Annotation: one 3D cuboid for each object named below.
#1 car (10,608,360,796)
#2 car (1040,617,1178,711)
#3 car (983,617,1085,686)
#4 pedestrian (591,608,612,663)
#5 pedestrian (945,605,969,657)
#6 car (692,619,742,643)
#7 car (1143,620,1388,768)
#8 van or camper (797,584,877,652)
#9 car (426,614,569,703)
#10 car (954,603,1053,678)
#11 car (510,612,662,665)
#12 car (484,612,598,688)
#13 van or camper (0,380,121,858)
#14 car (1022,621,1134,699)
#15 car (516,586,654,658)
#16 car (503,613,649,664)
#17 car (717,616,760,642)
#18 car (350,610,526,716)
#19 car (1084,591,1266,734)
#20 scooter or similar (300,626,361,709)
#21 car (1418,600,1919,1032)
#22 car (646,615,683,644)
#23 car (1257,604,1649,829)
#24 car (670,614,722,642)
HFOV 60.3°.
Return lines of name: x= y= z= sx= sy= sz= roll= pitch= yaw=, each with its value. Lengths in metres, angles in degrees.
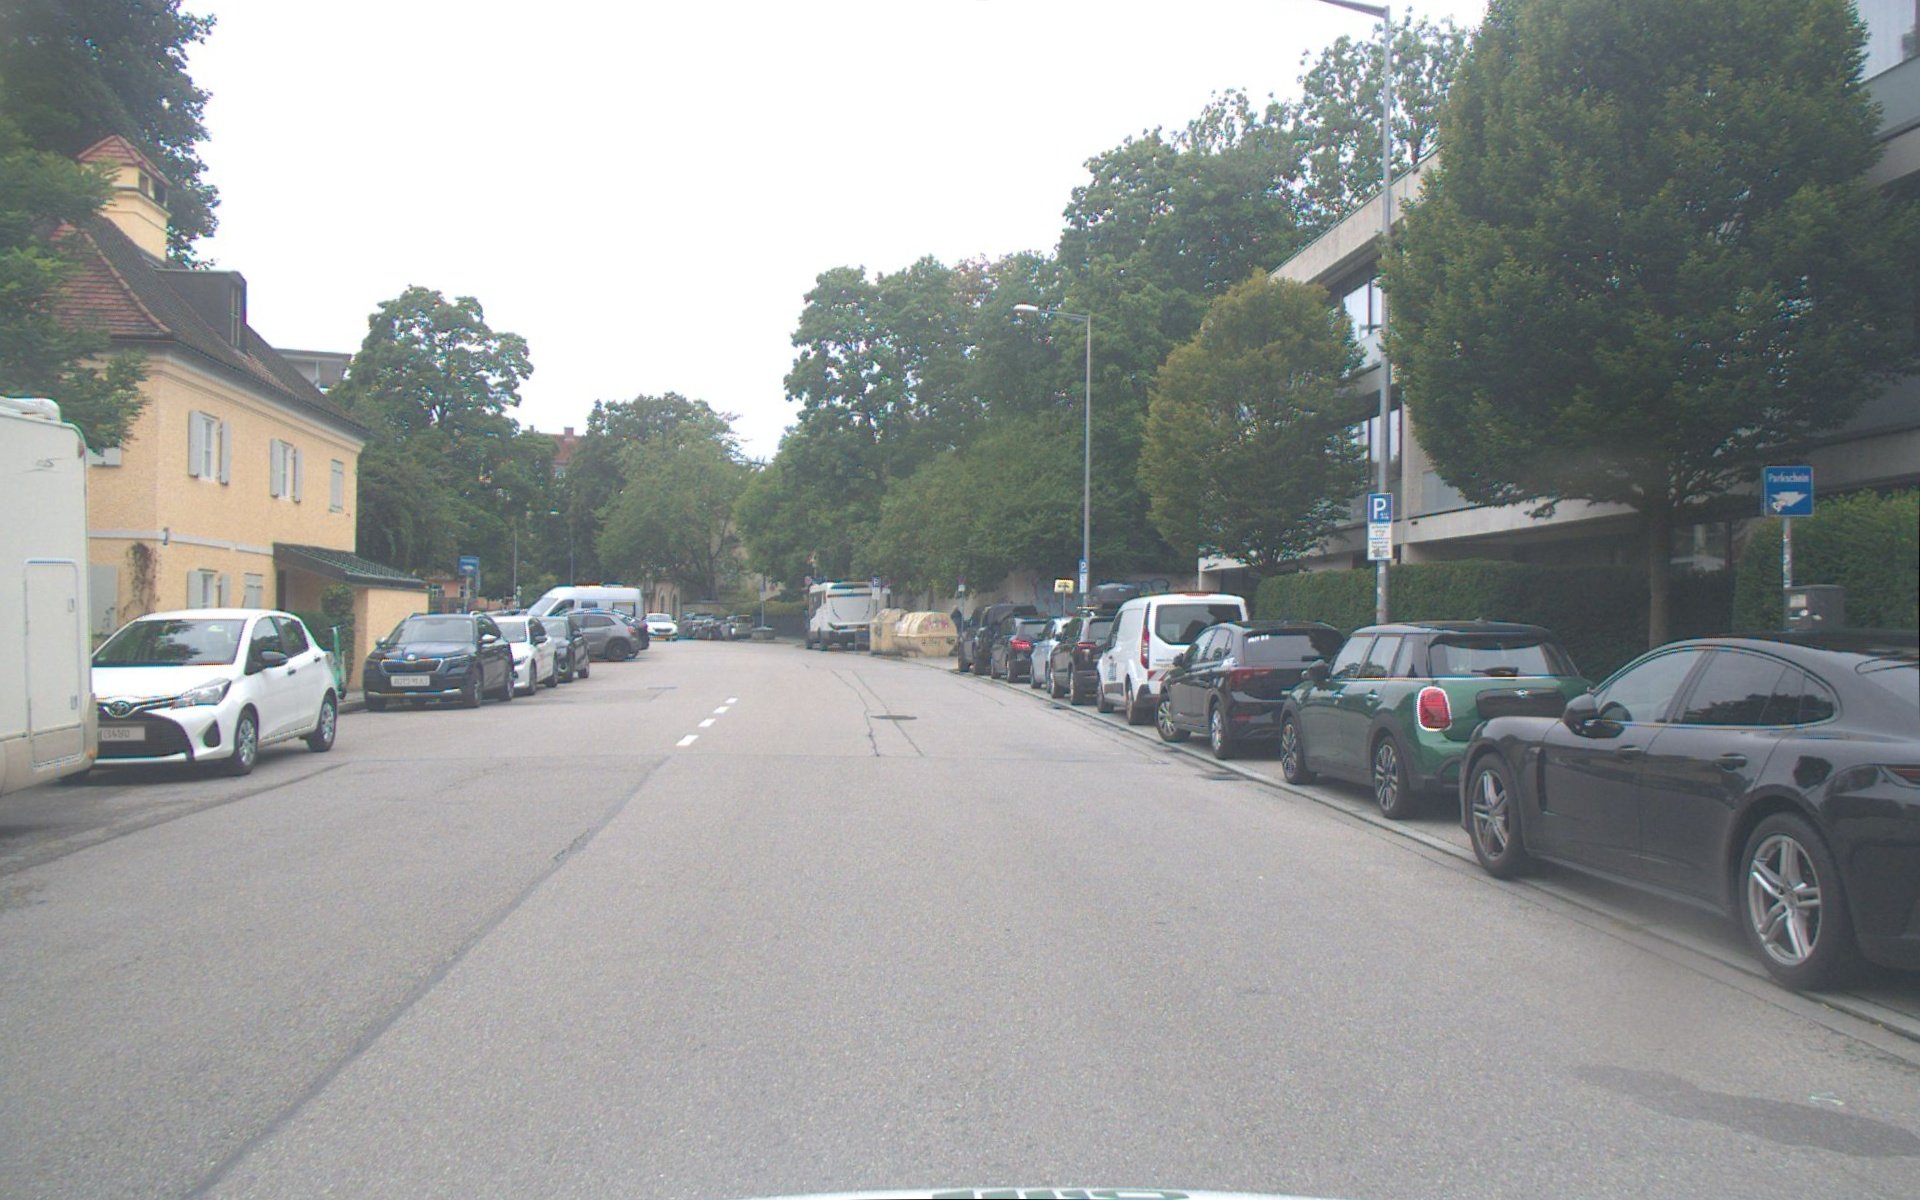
car: x=-7.444 y=0.891 z=16.380 sx=1.744 sy=1.562 sz=4.223 roll=-2 pitch=0 yaw=-5
car: x=2.621 y=1.105 z=30.103 sx=1.714 sy=1.506 sz=4.593 roll=1 pitch=0 yaw=-5
car: x=1.731 y=1.221 z=40.390 sx=1.715 sy=1.566 sz=4.562 roll=1 pitch=-1 yaw=-7
pedestrian: x=-10.997 y=1.079 z=50.717 sx=0.580 sy=1.676 sz=0.712 roll=-1 pitch=0 yaw=-14
pedestrian: x=-0.107 y=1.228 z=65.626 sx=0.782 sy=2.020 sz=0.628 roll=1 pitch=-1 yaw=-16
car: x=-15.465 y=1.959 z=105.084 sx=1.855 sy=1.452 sz=4.183 roll=-1 pitch=0 yaw=-28
car: x=3.379 y=0.992 z=19.108 sx=1.714 sy=1.489 sz=4.238 roll=0 pitch=0 yaw=-5
van or camper: x=-5.759 y=0.831 z=76.418 sx=2.236 sy=2.957 sz=7.243 roll=1 pitch=-1 yaw=-16
car: x=-8.951 y=1.080 z=32.368 sx=1.809 sy=1.562 sz=4.516 roll=-2 pitch=0 yaw=-5
car: x=1.125 y=1.127 z=45.721 sx=1.950 sy=1.904 sz=5.069 roll=1 pitch=-2 yaw=-7
car: x=-12.248 y=1.234 z=54.303 sx=4.482 sy=1.622 sz=1.938 roll=0 pitch=-1 yaw=-39
car: x=-9.355 y=1.073 z=37.265 sx=1.810 sy=1.562 sz=4.555 roll=-2 pitch=0 yaw=-6
van or camper: x=-7.093 y=0.119 z=8.306 sx=2.406 sy=2.992 sz=7.206 roll=-1 pitch=0 yaw=-3
car: x=2.420 y=1.216 z=34.713 sx=1.714 sy=1.506 sz=3.883 roll=1 pitch=-1 yaw=-6
car: x=-14.095 y=0.816 z=62.255 sx=4.591 sy=2.608 sz=2.203 roll=0 pitch=0 yaw=-39
car: x=-11.984 y=1.220 z=51.553 sx=4.265 sy=1.557 sz=1.923 roll=1 pitch=-2 yaw=-19
car: x=-13.573 y=1.804 z=101.440 sx=1.719 sy=1.563 sz=2.919 roll=-1 pitch=-1 yaw=-28
car: x=-8.572 y=1.013 z=27.567 sx=1.809 sy=1.562 sz=4.436 roll=-2 pitch=-1 yaw=-5
car: x=3.123 y=0.875 z=24.983 sx=1.786 sy=1.893 sz=4.894 roll=2 pitch=-1 yaw=-4
scooter or similar: x=-9.702 y=1.024 z=25.524 sx=0.443 sy=1.209 sz=1.370 roll=2 pitch=-1 yaw=-4
car: x=4.162 y=0.780 z=8.359 sx=1.840 sy=1.507 sz=5.202 roll=-1 pitch=0 yaw=-5
car: x=-16.105 y=1.605 z=90.265 sx=1.738 sy=1.501 sz=4.127 roll=1 pitch=-1 yaw=-7
car: x=3.873 y=0.829 z=13.798 sx=1.693 sy=1.556 sz=4.200 roll=-1 pitch=0 yaw=-5
car: x=-17.477 y=1.843 z=109.228 sx=1.971 sy=1.741 sz=4.840 roll=-1 pitch=0 yaw=-28
